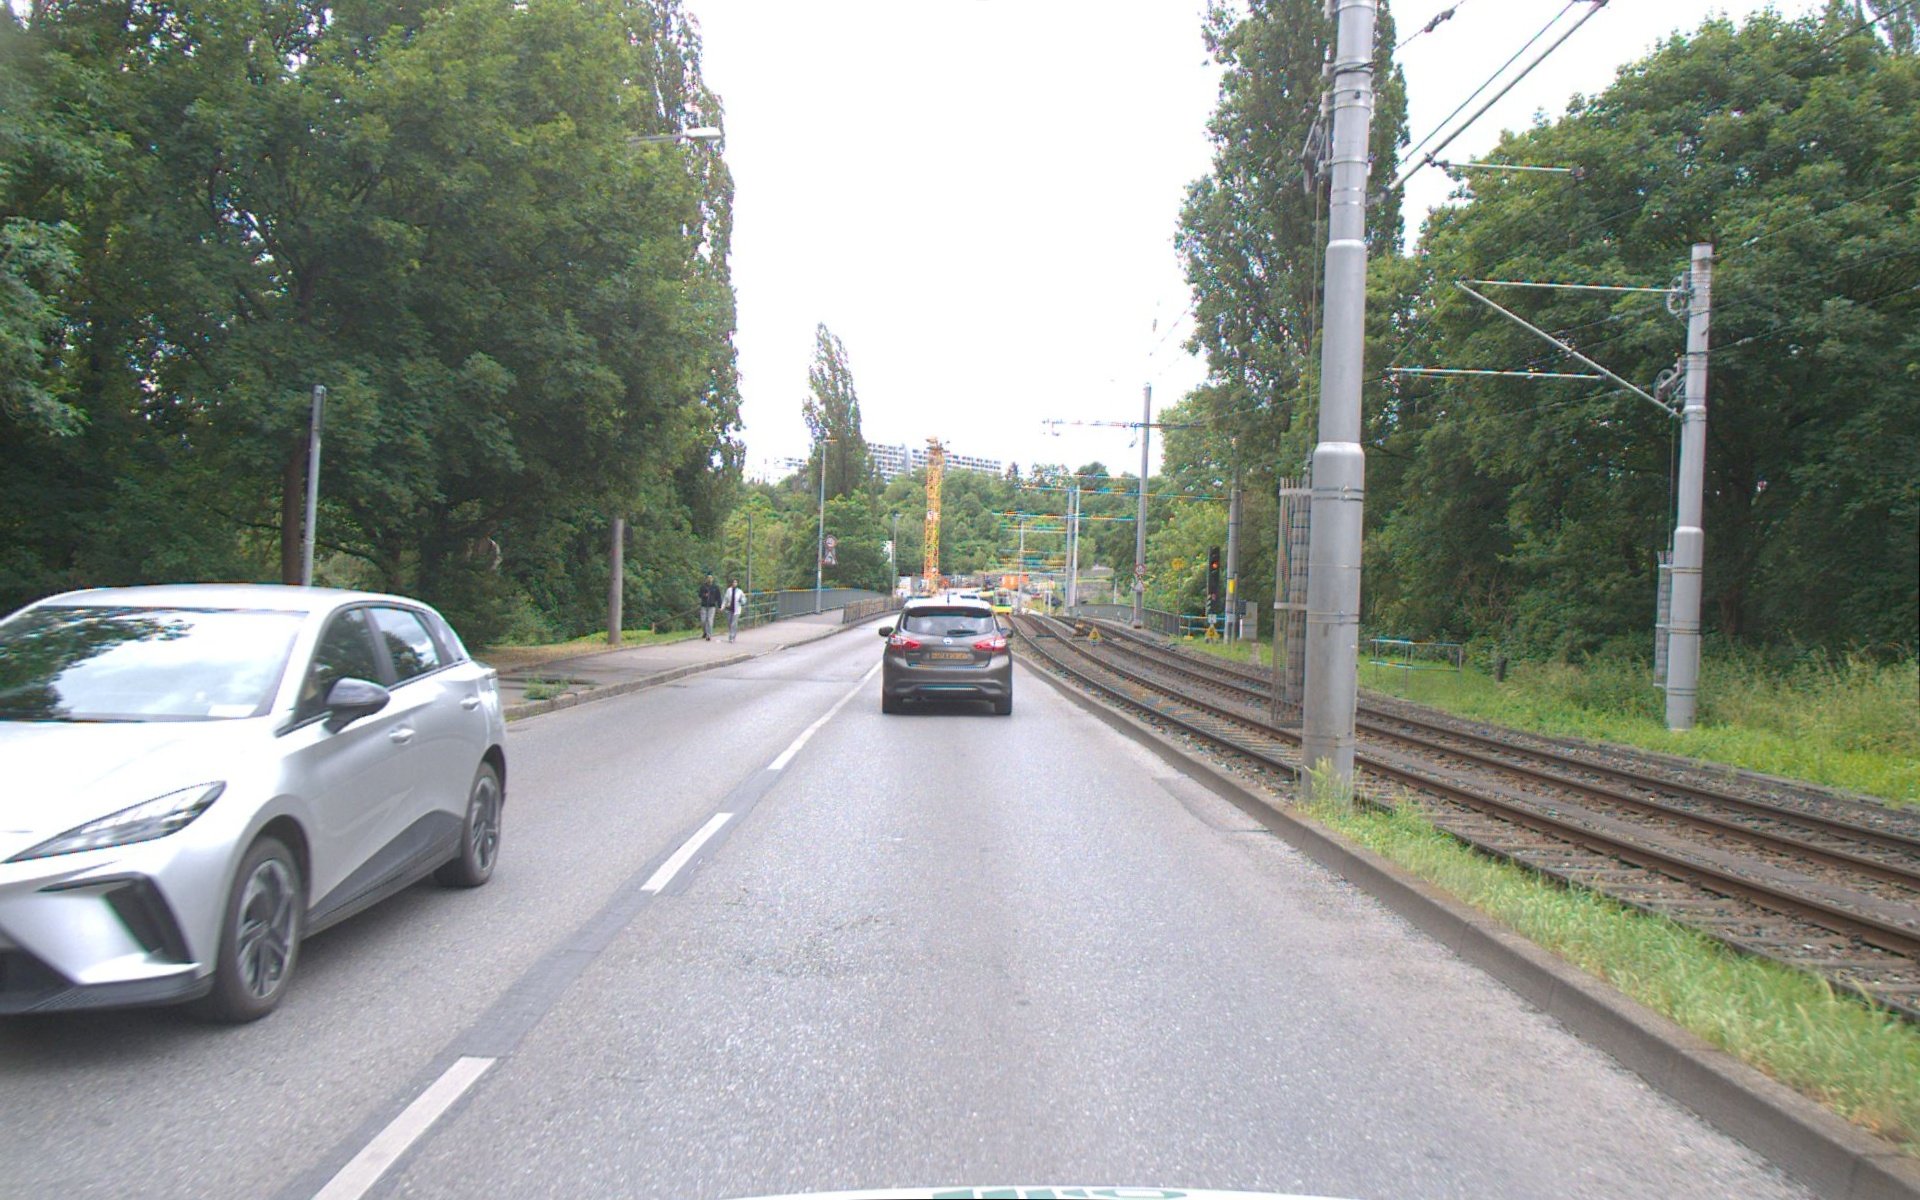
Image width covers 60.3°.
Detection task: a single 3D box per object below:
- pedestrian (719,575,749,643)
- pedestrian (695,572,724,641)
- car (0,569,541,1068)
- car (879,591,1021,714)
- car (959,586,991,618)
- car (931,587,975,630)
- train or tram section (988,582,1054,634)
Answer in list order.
[{"bbox_3d":[-6.186,0.254,45.286,0.540,1.795,0.858,5,0,-1],"label":"pedestrian"},{"bbox_3d":[-6.837,0.172,45.115,0.575,1.834,0.822,3,0,-1],"label":"pedestrian"},{"bbox_3d":[-3.217,0.659,7.135,1.757,1.518,4.180,0,0,0],"label":"car"},{"bbox_3d":[-0.211,0.693,23.203,1.793,1.536,3.998,1,-1,-3],"label":"car"},{"bbox_3d":[0.809,0.098,90.332,1.645,1.634,4.309,2,0,1],"label":"car"},{"bbox_3d":[-0.267,0.346,69.141,1.645,1.634,4.309,4,0,1],"label":"car"},{"bbox_3d":[6.742,1.071,188.647,2.972,5.273,23.005,3,-2,-9],"label":"train or tram section"}]
